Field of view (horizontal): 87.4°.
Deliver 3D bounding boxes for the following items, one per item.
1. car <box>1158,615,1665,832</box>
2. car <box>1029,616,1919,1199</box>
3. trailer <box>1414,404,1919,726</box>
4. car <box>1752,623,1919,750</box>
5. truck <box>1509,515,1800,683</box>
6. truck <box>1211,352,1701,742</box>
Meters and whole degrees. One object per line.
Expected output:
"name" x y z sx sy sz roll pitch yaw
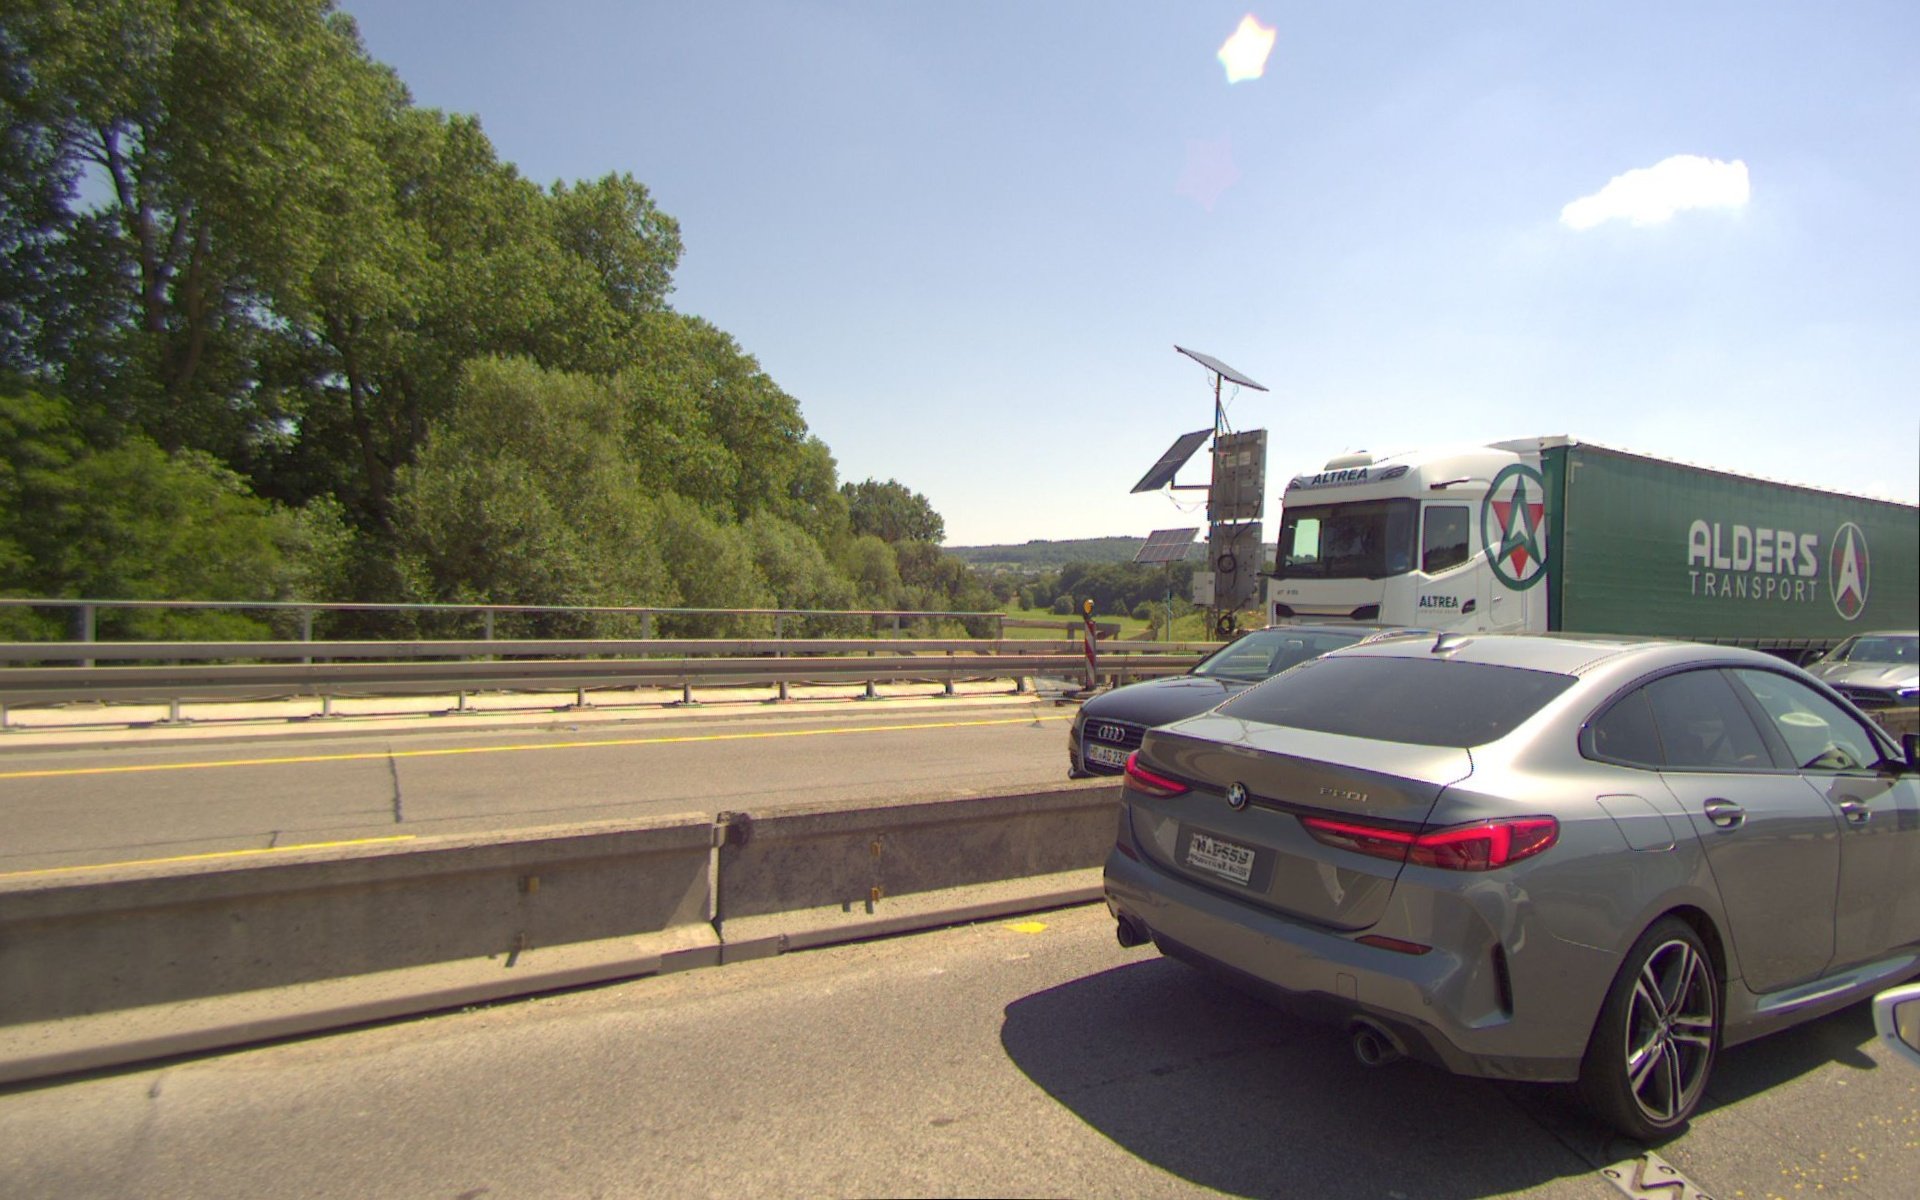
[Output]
"car" 4.079 0.920 8.898 4.483 1.439 1.769 1 1 -30
"car" 2.749 0.846 4.293 4.686 1.471 1.843 1 0 -30
"trailer" 13.933 -0.349 18.689 12.864 4.524 3.087 1 -1 -30
"car" 13.473 1.132 14.284 4.552 1.478 1.857 1 2 -30
"truck" 18.181 0.026 26.123 8.268 3.815 2.890 1 1 -30
"truck" 7.460 -0.551 14.927 7.017 4.597 3.064 1 0 -29
